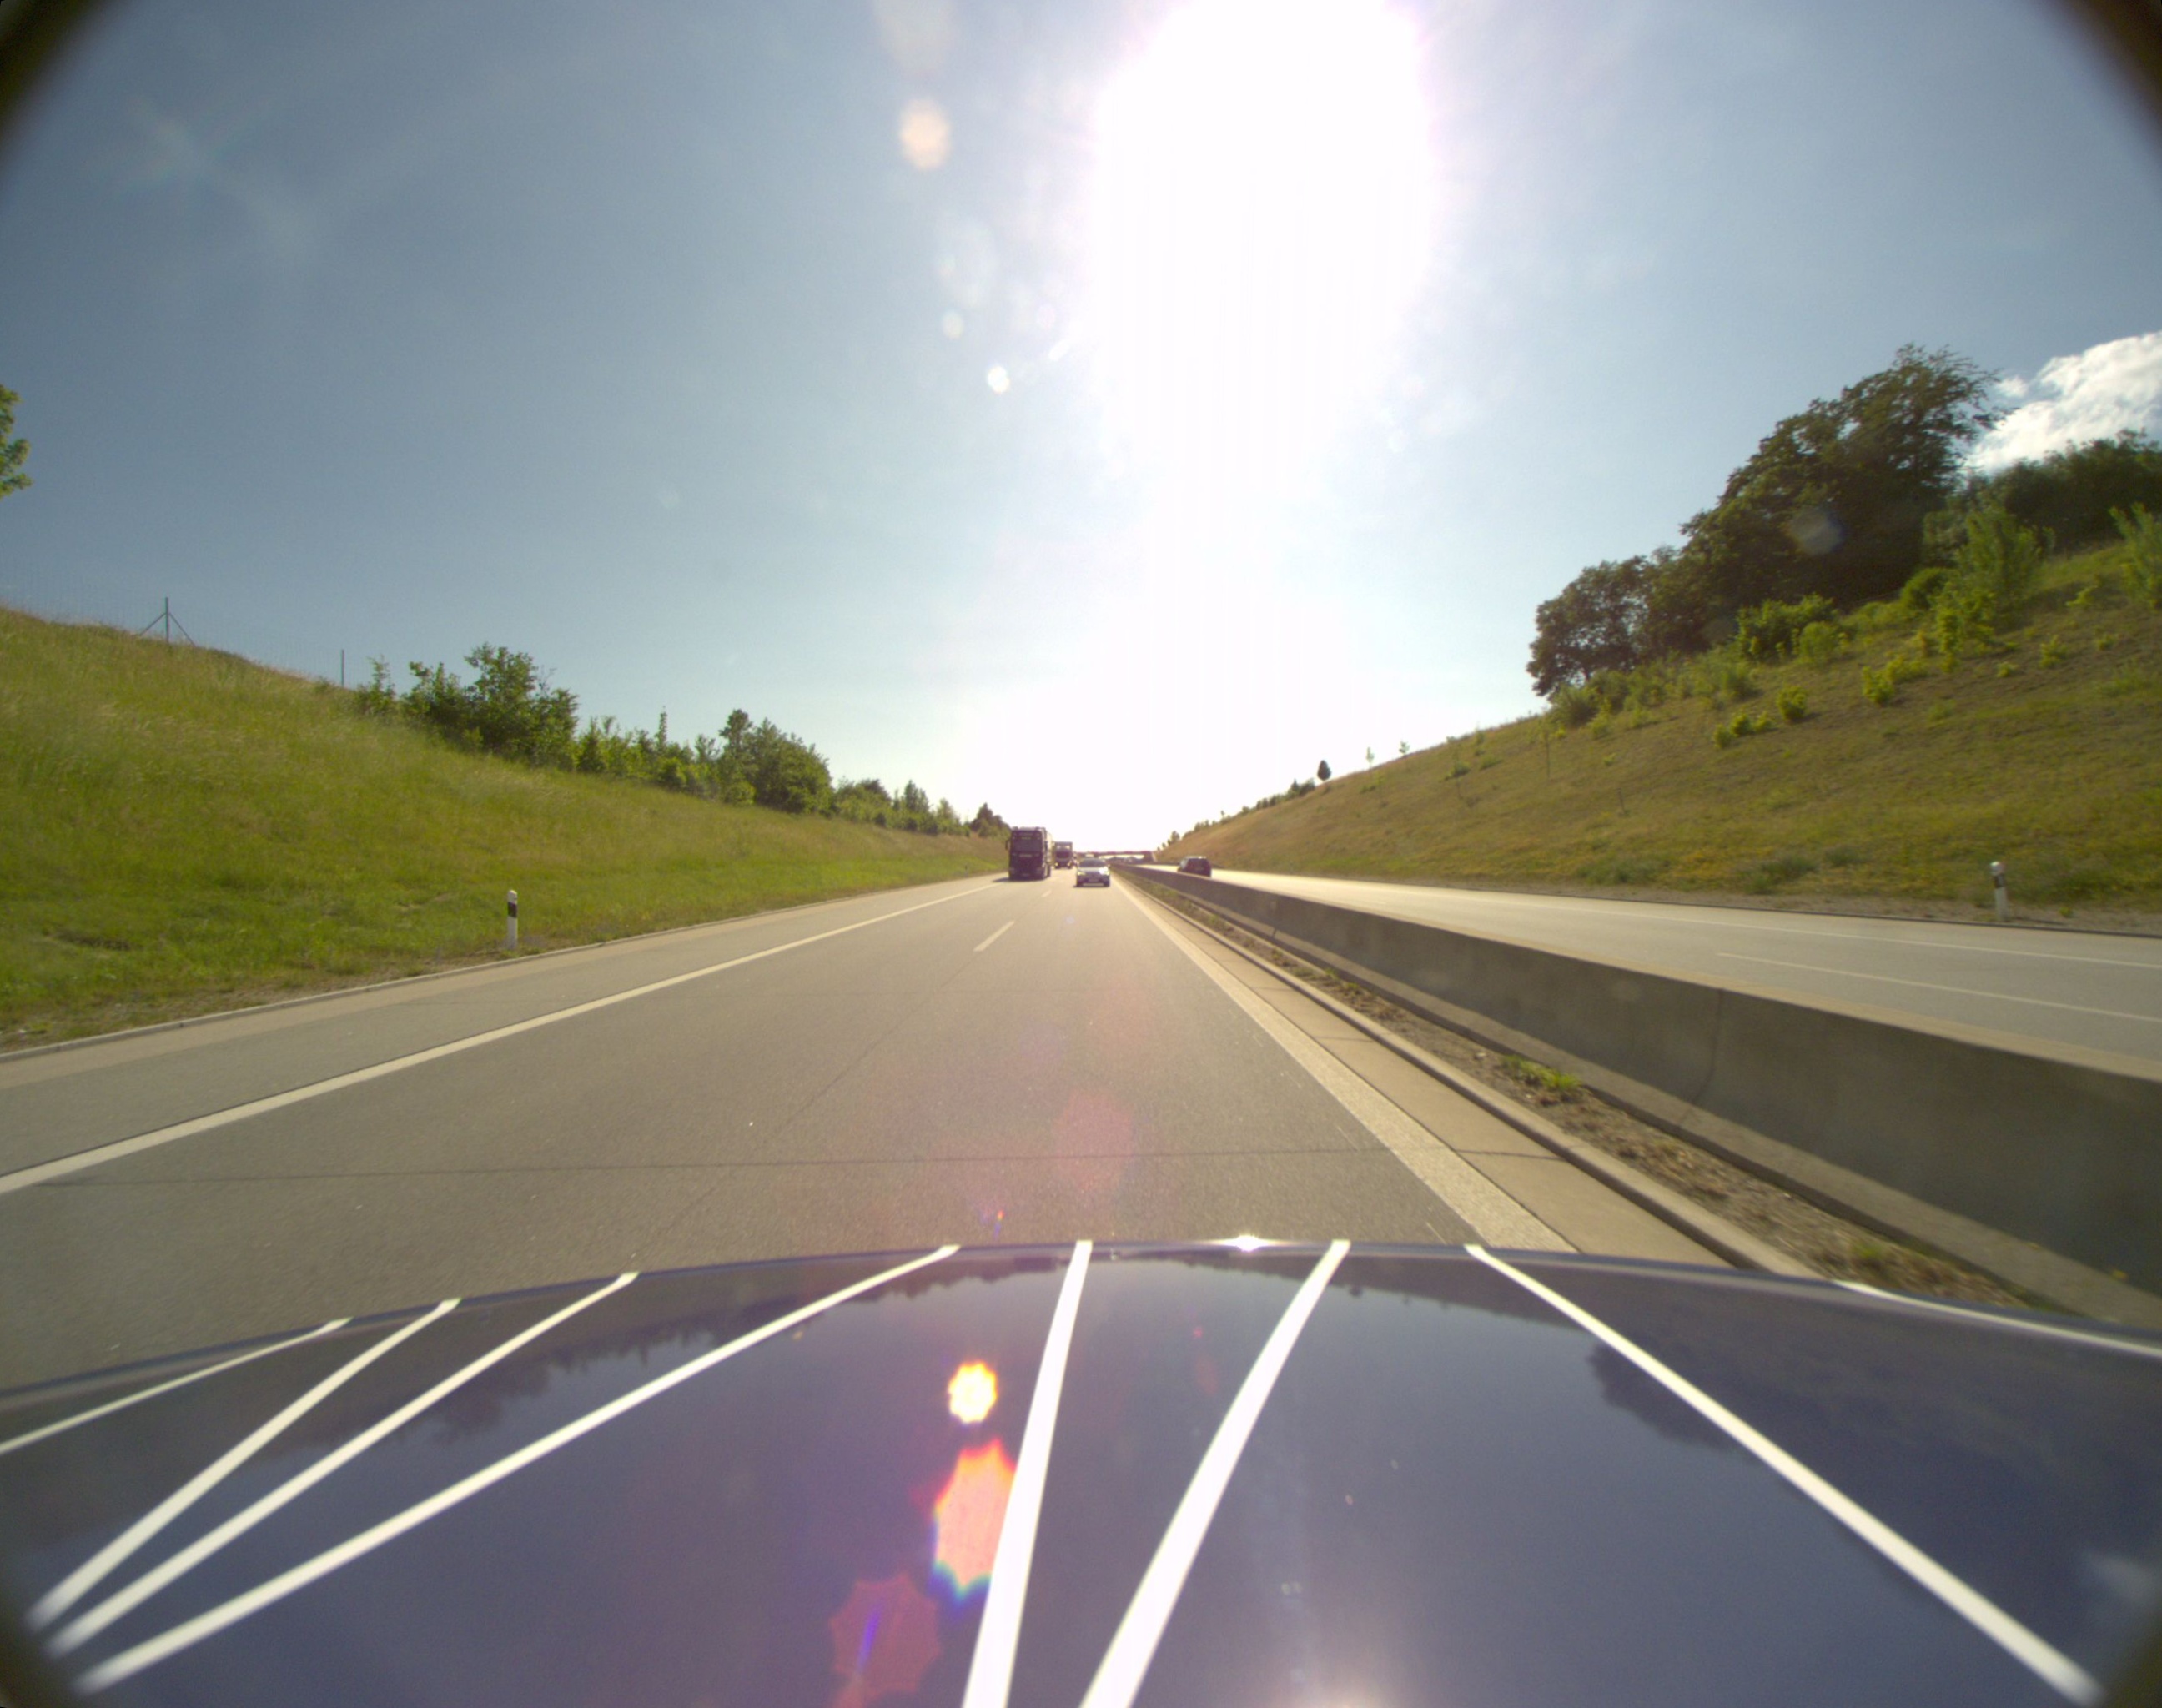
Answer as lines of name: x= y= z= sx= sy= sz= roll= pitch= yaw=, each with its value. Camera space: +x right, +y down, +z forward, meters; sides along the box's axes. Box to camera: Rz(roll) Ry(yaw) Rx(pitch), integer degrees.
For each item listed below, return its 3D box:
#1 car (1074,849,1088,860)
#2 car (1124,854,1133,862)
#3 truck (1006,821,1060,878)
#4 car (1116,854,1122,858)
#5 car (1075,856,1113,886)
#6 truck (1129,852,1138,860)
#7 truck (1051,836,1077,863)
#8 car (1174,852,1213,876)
car: x=0.019 y=0.073 z=155.223 sx=2.816 sy=2.143 sz=5.947 roll=0 pitch=0 yaw=0
car: x=10.886 y=0.910 z=175.413 sx=1.780 sy=1.592 sz=4.039 roll=-1 pitch=0 yaw=1
truck: x=-3.535 y=-0.299 z=59.327 sx=2.623 sy=3.795 sz=13.405 roll=-3 pitch=0 yaw=2
car: x=13.044 y=0.645 z=259.196 sx=1.858 sy=1.453 sz=4.333 roll=-1 pitch=0 yaw=1
car: x=0.763 y=0.890 z=41.941 sx=1.794 sy=1.501 sz=3.636 roll=-2 pitch=0 yaw=5
truck: x=16.306 y=0.580 z=235.893 sx=2.118 sy=2.446 sz=5.951 roll=-1 pitch=0 yaw=0
truck: x=-2.480 y=-0.653 z=114.427 sx=3.024 sy=3.795 sz=13.405 roll=0 pitch=0 yaw=2
car: x=7.022 y=0.610 z=47.761 sx=1.778 sy=1.440 sz=4.183 roll=-1 pitch=0 yaw=-1
